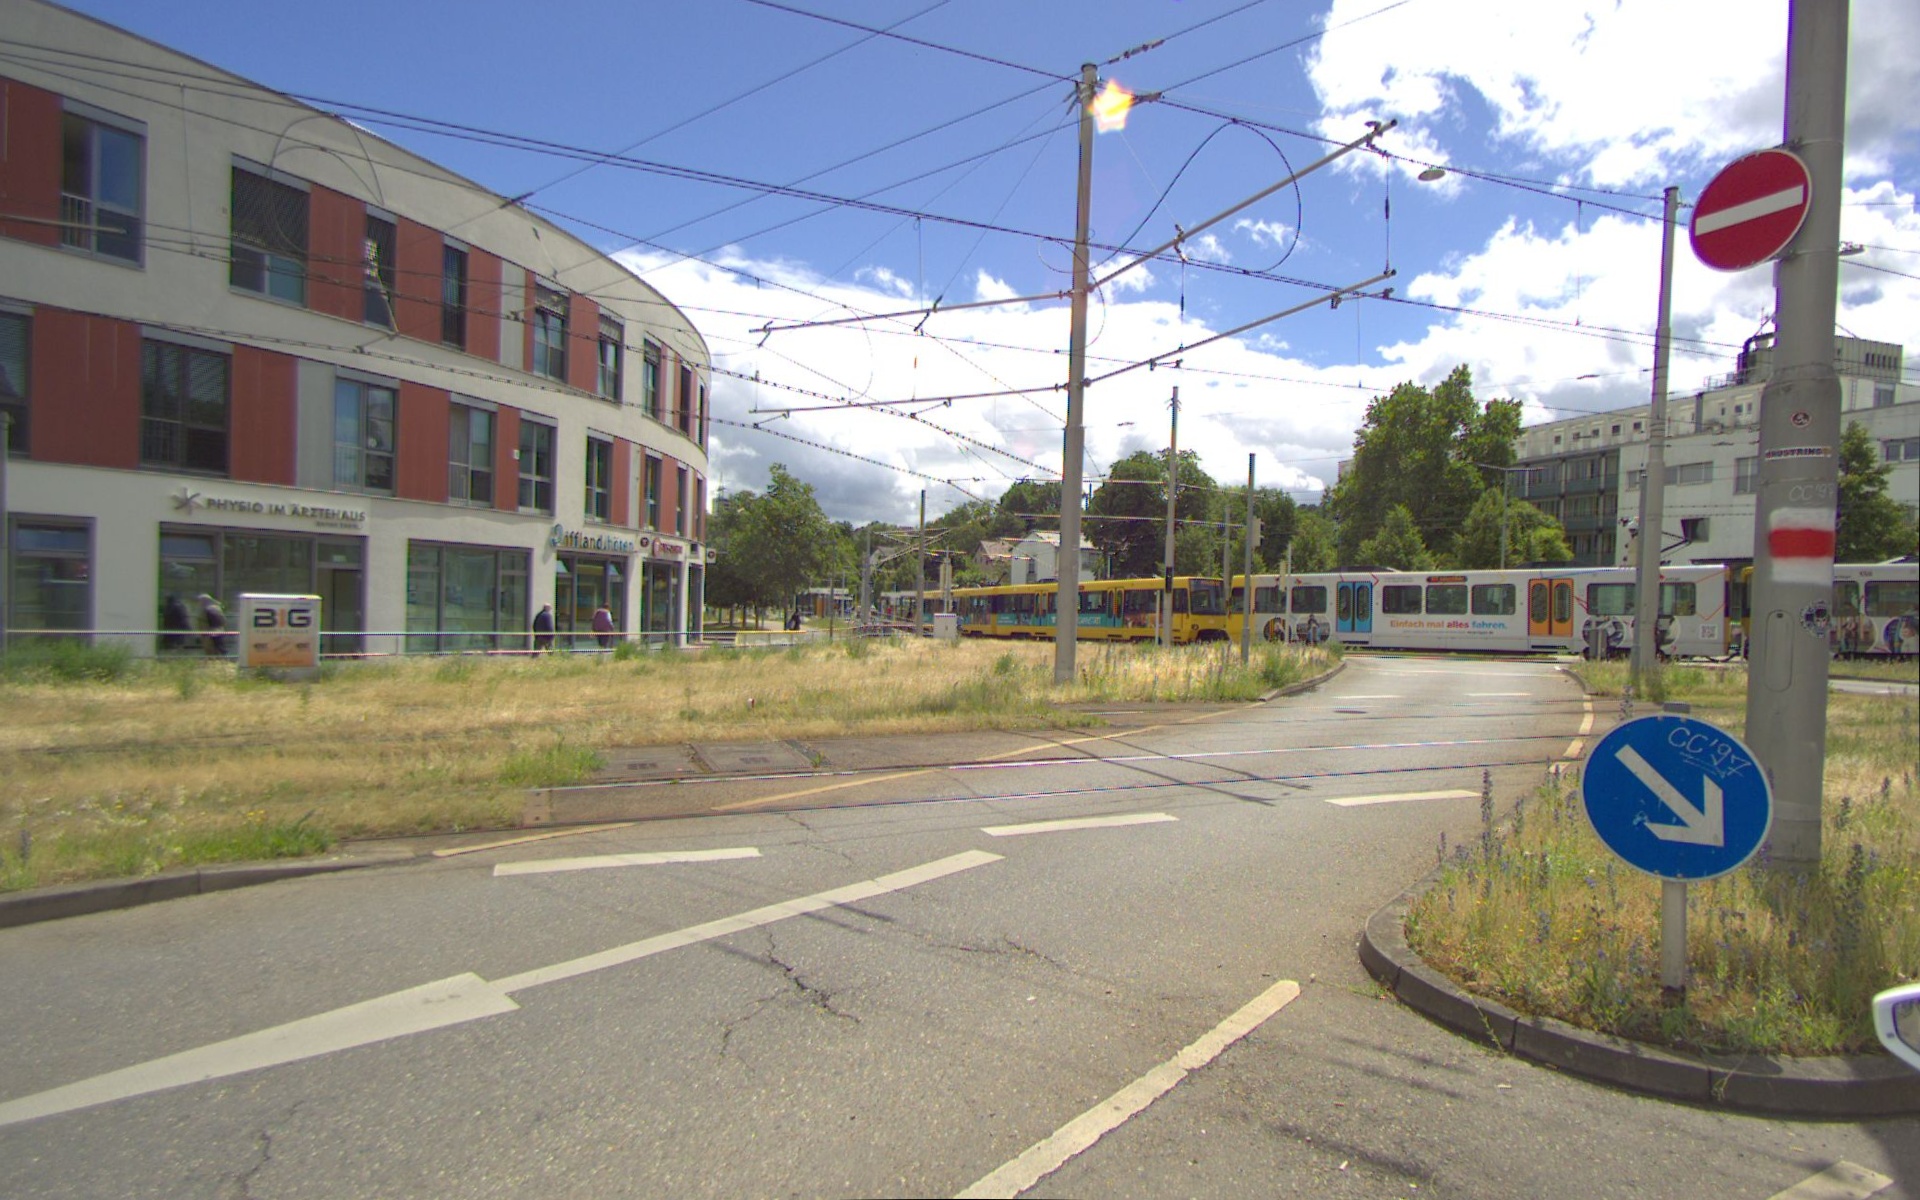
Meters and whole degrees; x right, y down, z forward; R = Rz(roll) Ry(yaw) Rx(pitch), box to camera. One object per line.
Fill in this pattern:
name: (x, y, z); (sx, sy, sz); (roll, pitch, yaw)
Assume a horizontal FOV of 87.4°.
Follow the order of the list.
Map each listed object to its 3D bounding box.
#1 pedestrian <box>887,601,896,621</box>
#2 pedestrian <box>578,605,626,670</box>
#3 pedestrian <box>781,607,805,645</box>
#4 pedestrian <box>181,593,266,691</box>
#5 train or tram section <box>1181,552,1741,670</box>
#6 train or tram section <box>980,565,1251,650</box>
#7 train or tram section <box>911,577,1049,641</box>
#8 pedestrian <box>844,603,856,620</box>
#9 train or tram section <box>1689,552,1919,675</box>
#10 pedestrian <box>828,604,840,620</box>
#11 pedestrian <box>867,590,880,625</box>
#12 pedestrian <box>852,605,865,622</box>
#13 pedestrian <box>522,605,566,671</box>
pedestrian: (-7.221, 1.165, 105.898); (0.807, 2.040, 0.771); (2, -1, -15)
pedestrian: (-11.368, 1.184, 31.898); (0.849, 1.994, 1.104); (1, -1, 30)
pedestrian: (-7.463, 1.160, 44.962); (0.847, 1.646, 0.733); (1, -1, 7)
pedestrian: (-15.507, 0.870, 21.171); (0.848, 1.994, 1.115); (1, -1, 24)
train or tram section: (19.258, 0.426, 41.379); (20.319, 3.930, 3.745); (0, -2, 39)
train or tram section: (7.652, 0.519, 56.296); (3.715, 3.880, 20.001); (2, -2, -28)
train or tram section: (0.877, 0.746, 72.478); (3.703, 3.970, 18.818); (2, -2, -19)
pedestrian: (-13.570, 1.402, 123.868); (1.241, 2.040, 1.121); (2, -1, -19)
train or tram section: (35.556, 0.561, 32.012); (19.652, 3.864, 3.763); (1, -1, 19)
pedestrian: (-16.752, 1.590, 133.598); (1.241, 2.040, 1.121); (2, -1, -19)
pedestrian: (-14.937, 1.369, 173.215); (1.964, 5.998, 2.368); (2, -1, -9)
pedestrian: (-12.013, 1.618, 118.560); (1.241, 2.040, 1.121); (2, -1, -19)
pedestrian: (-10.372, 0.935, 25.069); (0.721, 1.601, 0.691); (1, 0, 24)
